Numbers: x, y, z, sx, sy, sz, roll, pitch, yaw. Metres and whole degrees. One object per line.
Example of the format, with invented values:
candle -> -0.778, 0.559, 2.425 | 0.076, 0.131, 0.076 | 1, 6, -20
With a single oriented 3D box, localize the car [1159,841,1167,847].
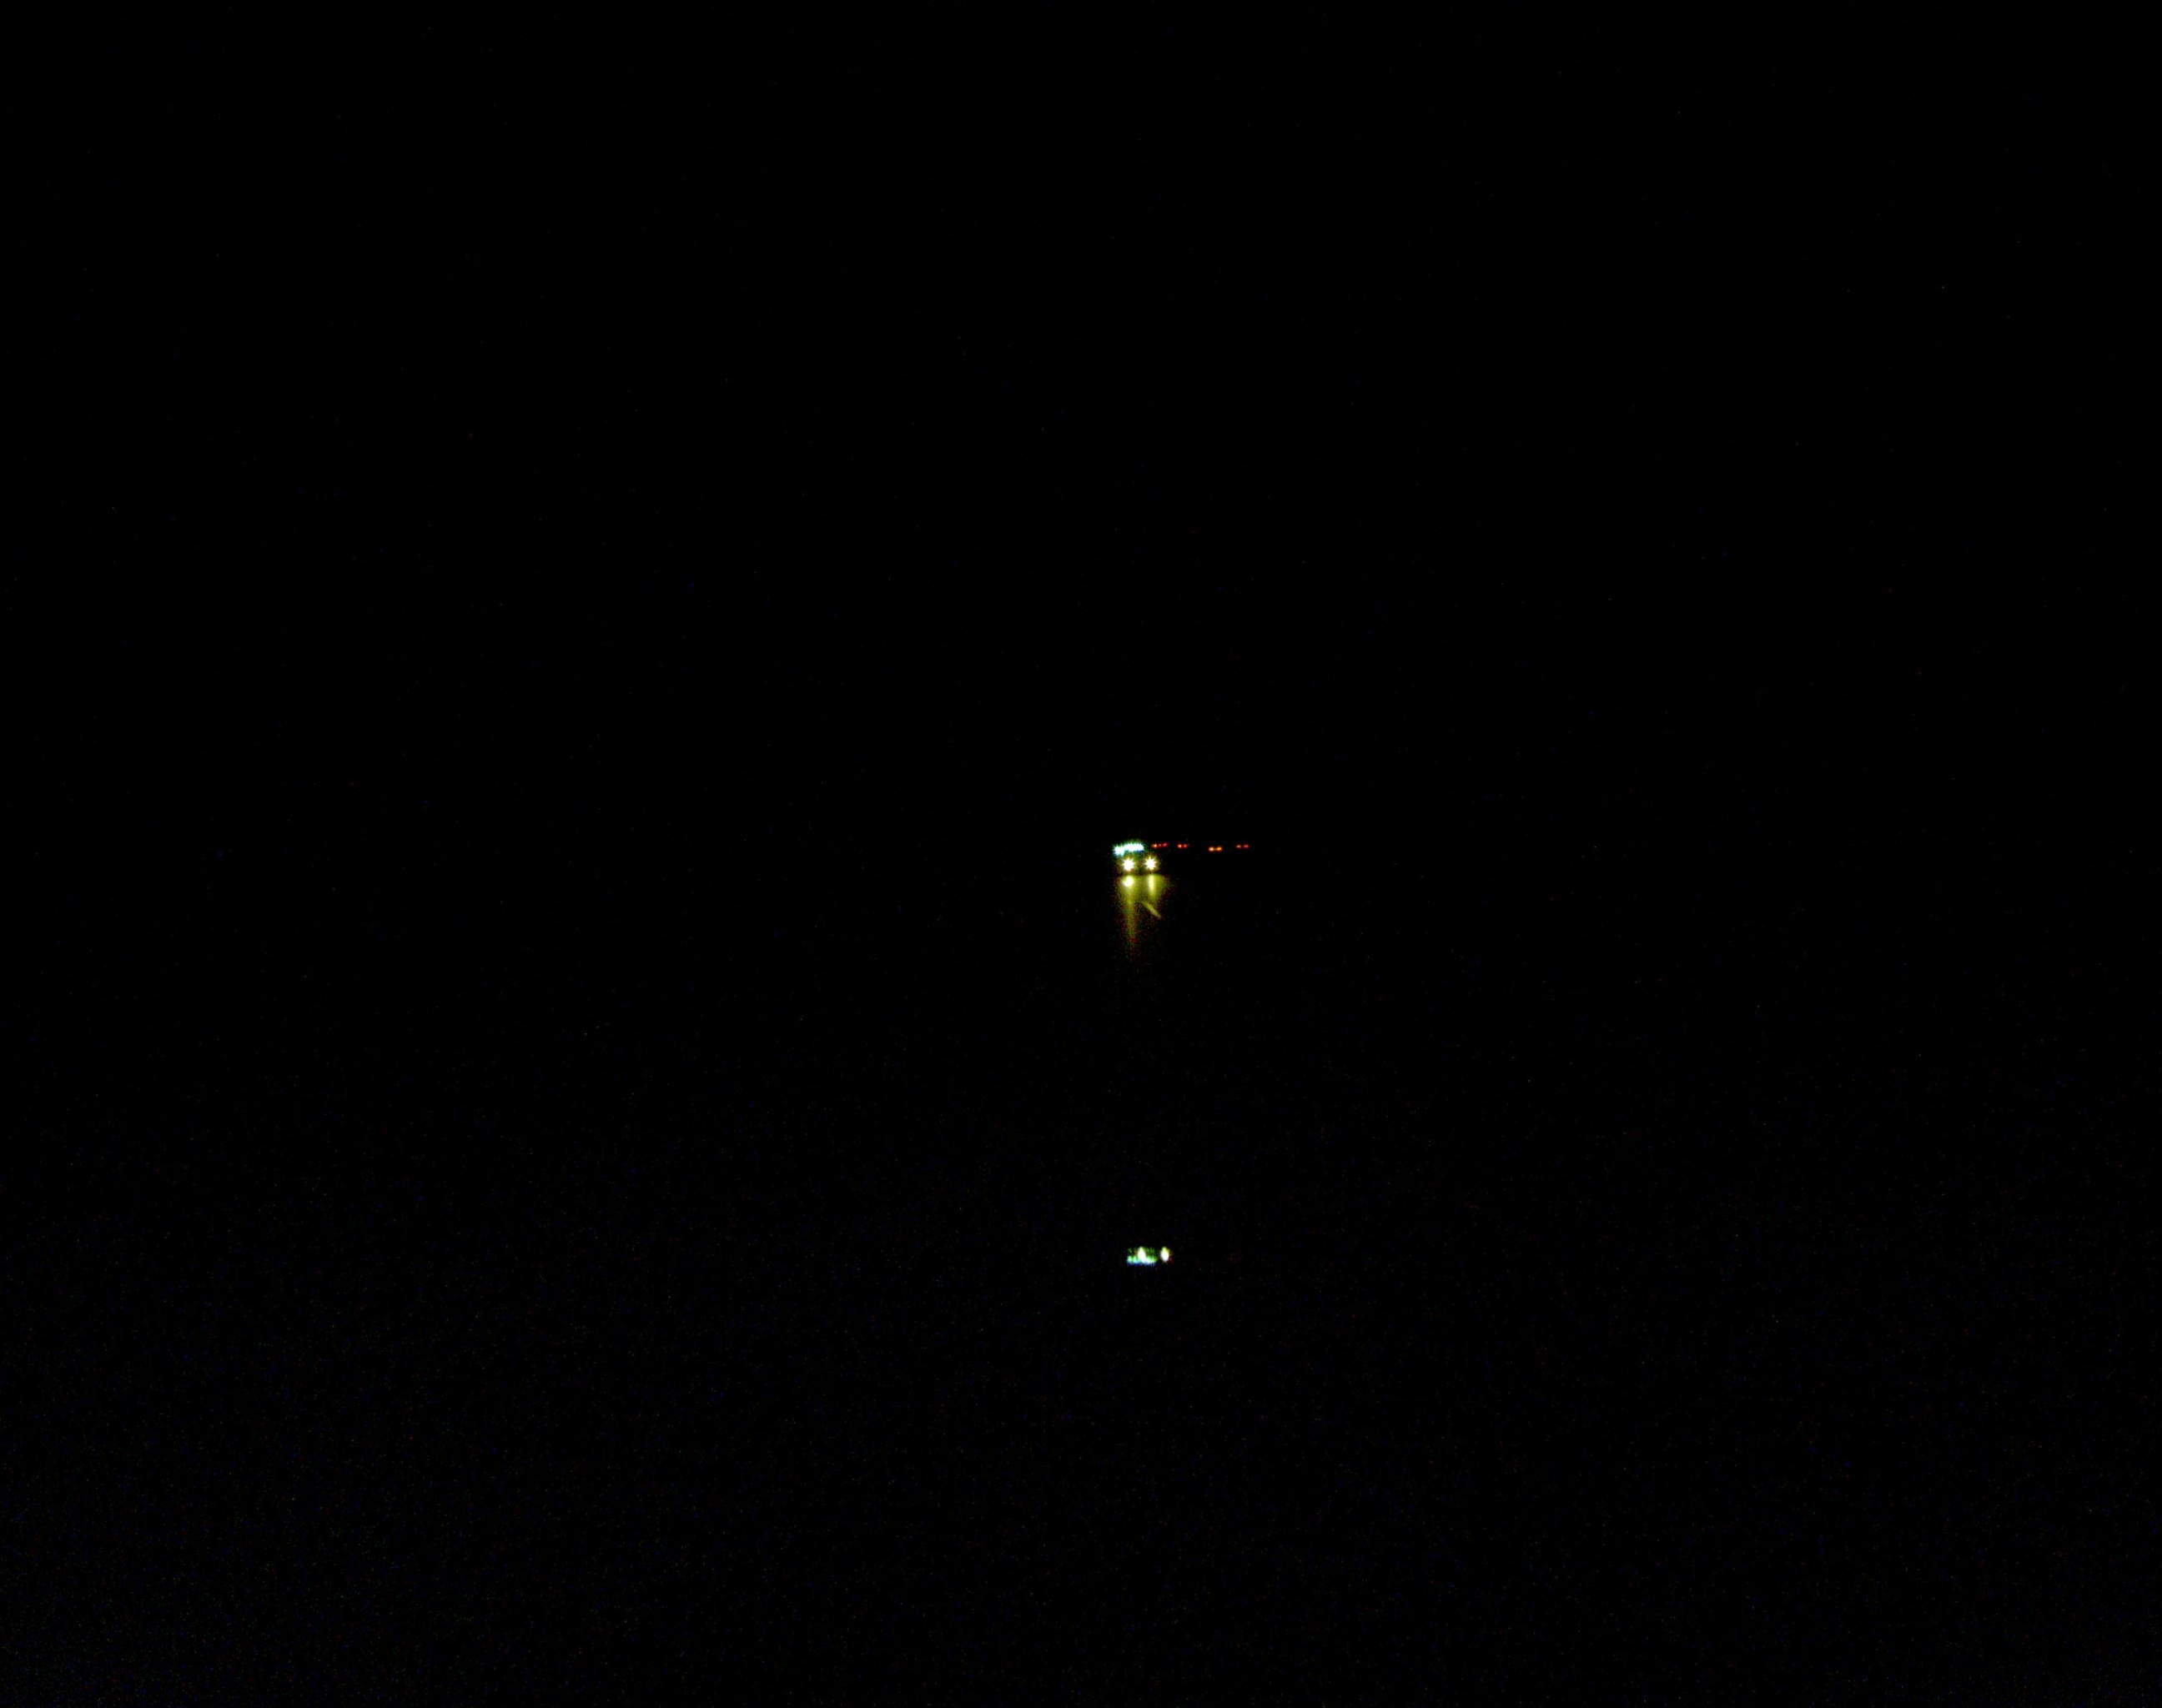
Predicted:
car -> 25.086, -3.122, 232.857 | 1.998, 1.724, 4.659 | -3, 1, 3

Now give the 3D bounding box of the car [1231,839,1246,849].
car -> 25.717, -1.650, 124.181 | 1.778, 1.421, 4.659 | -3, 1, 3

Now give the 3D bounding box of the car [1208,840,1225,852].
car -> 22.695, -1.426, 127.065 | 2.109, 1.874, 4.659 | -3, 1, 3

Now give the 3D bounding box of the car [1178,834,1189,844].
car -> 31.670, -4.521, 234.556 | 2.464, 2.919, 8.333 | -3, 1, 3

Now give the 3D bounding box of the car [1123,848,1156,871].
car -> 3.989, 0.398, 52.791 | 1.998, 1.423, 4.330 | -3, 0, 1

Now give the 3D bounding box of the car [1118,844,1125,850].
car -> 12.193, -2.171, 226.853 | 1.998, 1.724, 4.225 | -3, 0, 2

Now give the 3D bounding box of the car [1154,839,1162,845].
car -> 25.953, -3.941, 255.611 | 2.151, 1.874, 5.423 | -3, 1, -1
